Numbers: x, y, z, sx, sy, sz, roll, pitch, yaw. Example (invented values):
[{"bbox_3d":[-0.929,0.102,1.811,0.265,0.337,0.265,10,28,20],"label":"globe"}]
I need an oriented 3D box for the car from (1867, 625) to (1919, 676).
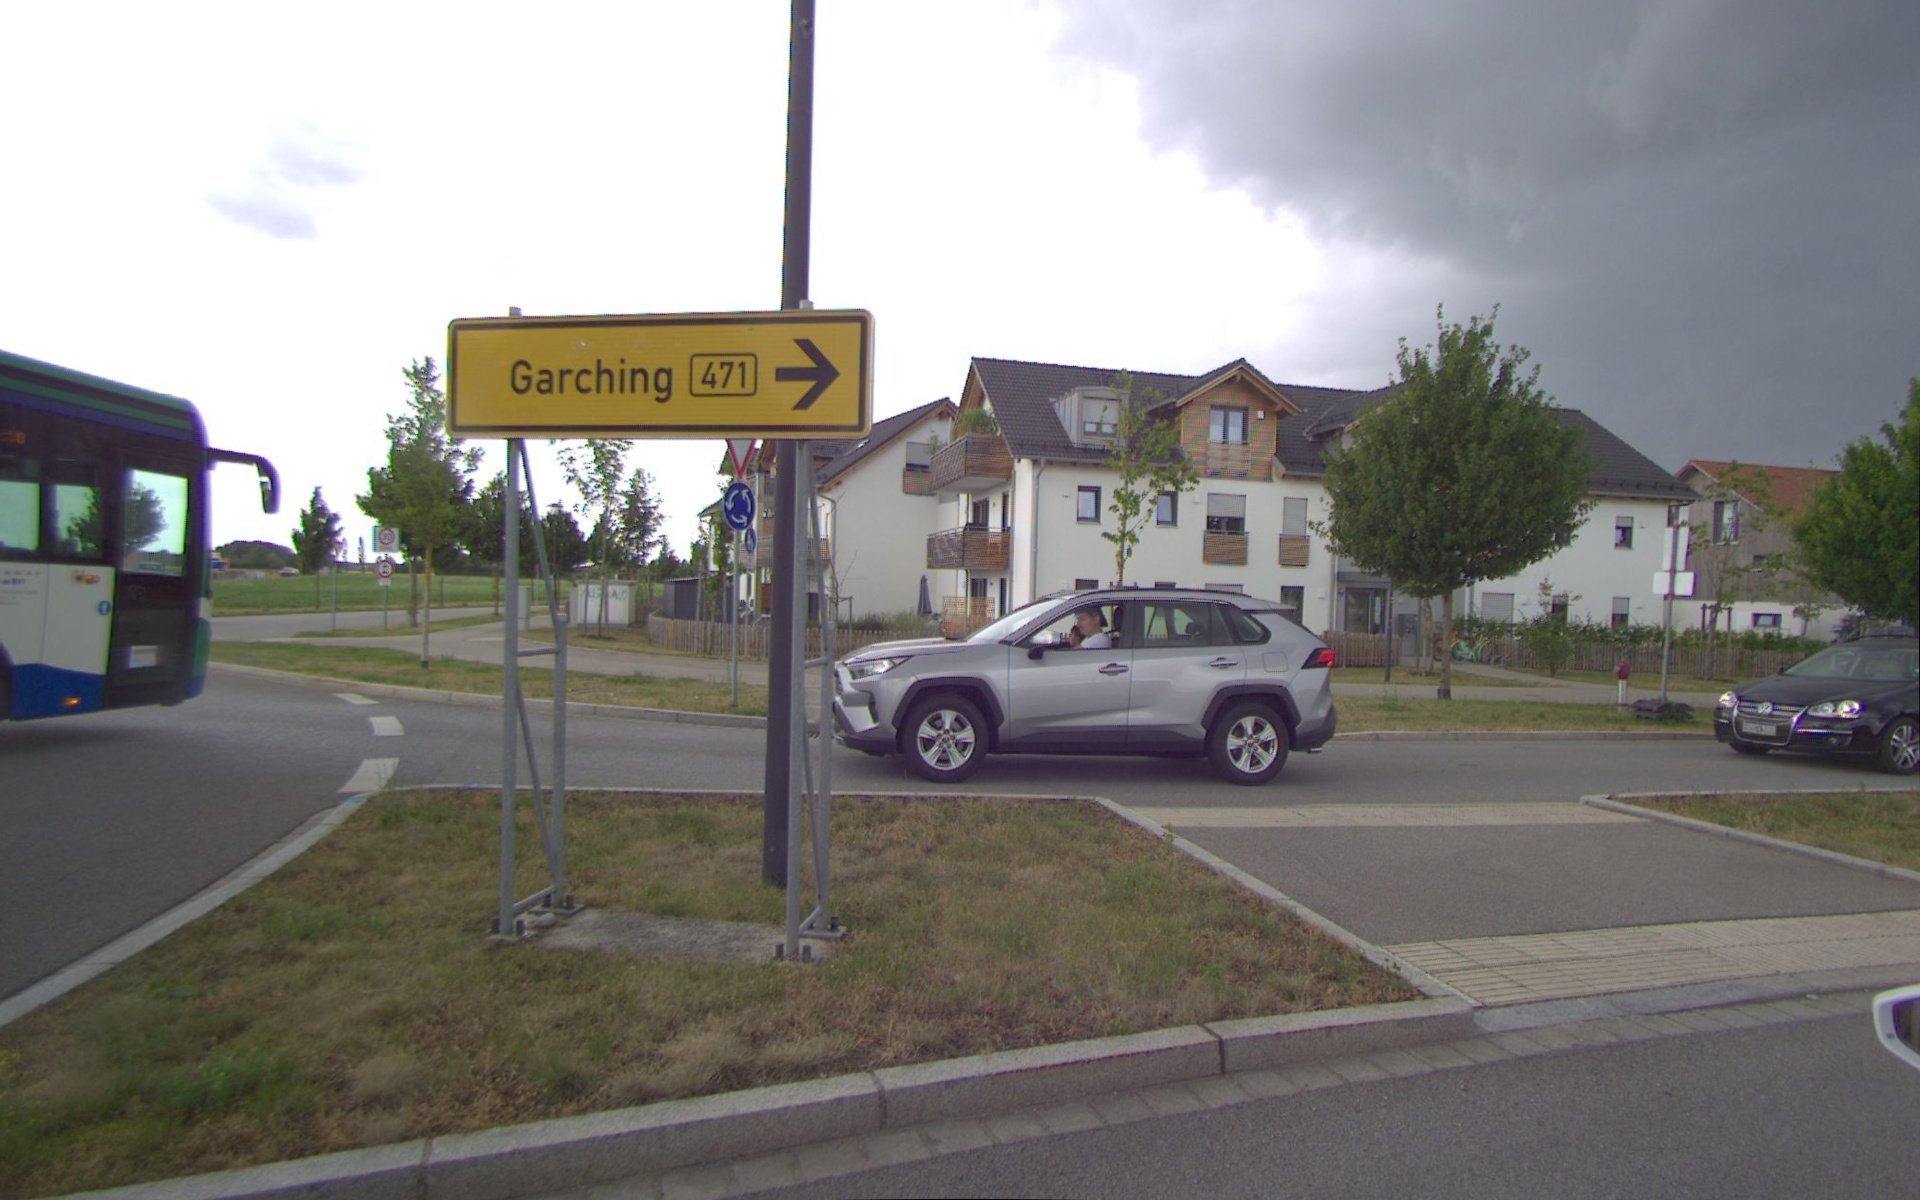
[{"bbox_3d":[34.455,1.838,34.526,1.965,1.702,4.535,2,1,-11],"label":"car"}]

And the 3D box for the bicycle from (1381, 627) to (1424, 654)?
[{"bbox_3d":[14.944,1.362,33.919,1.314,0.854,0.367,2,3,-13],"label":"bicycle"}]

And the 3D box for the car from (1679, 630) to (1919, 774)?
[{"bbox_3d":[10.889,1.140,11.636,4.380,1.435,1.754,2,-1,-14],"label":"car"}]

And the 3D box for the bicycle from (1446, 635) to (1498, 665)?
[{"bbox_3d":[15.880,1.559,31.172,1.520,0.854,0.367,2,3,-13],"label":"bicycle"}]

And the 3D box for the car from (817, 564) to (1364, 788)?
[{"bbox_3d":[1.041,0.677,9.215,4.552,1.726,1.997,2,-1,-10],"label":"car"}]

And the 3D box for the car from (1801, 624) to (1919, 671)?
[{"bbox_3d":[39.553,2.077,43.801,4.385,1.795,1.996,2,1,-10],"label":"car"}]

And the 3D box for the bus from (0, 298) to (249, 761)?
[{"bbox_3d":[-8.115,-0.545,6.302,2.475,3.301,6.550,2,-1,1],"label":"bus"}]
